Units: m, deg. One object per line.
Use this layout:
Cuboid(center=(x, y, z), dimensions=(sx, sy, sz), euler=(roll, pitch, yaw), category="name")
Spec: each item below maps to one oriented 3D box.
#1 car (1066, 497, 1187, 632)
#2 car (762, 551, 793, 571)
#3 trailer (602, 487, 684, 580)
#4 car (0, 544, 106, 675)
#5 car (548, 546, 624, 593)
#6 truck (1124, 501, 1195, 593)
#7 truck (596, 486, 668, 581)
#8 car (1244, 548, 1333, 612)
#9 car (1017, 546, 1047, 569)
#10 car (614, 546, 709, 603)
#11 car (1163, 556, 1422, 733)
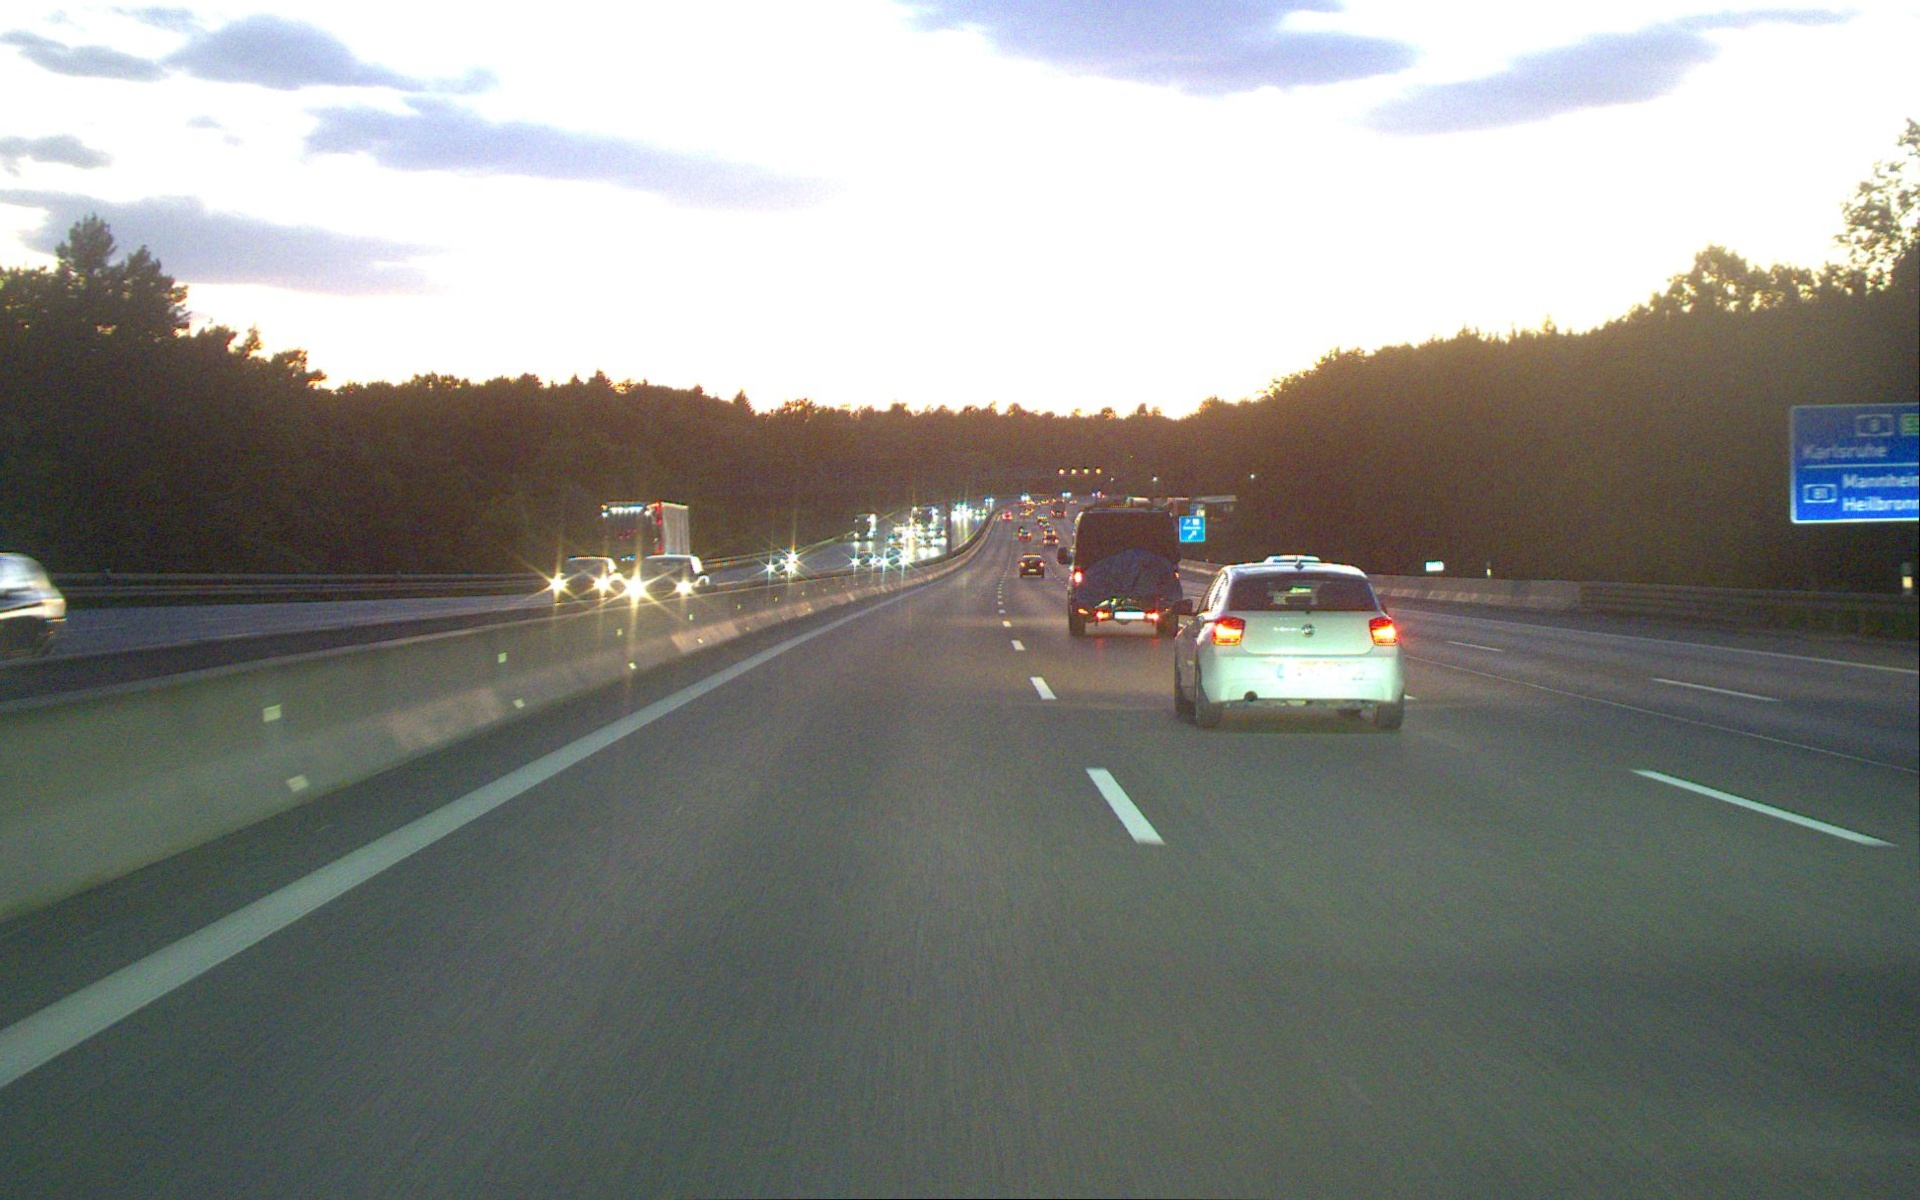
Cuboid(center=(3.140, -0.677, 64.433), dimensions=(2.166, 2.410, 5.563), euler=(0, 1, 3), category="car")
Cuboid(center=(-12.816, -2.739, 241.717), dimensions=(1.912, 1.420, 4.747), euler=(0, 1, 1), category="car")
Cuboid(center=(-14.664, -3.057, 159.988), dimensions=(2.649, 4.117, 14.327), euler=(0, 1, -1), category="trailer")
Cuboid(center=(-11.307, 0.087, 38.696), dimensions=(1.755, 1.424, 5.362), euler=(1, 1, 4), category="car")
Cuboid(center=(-11.451, -0.950, 105.544), dimensions=(1.776, 1.396, 4.939), euler=(1, 1, 0), category="car")
Cuboid(center=(13.035, -3.460, 226.029), dimensions=(4.149, 5.836, 14.296), euler=(0, 1, 1), category="truck")
Cuboid(center=(-14.576, -2.955, 153.129), dimensions=(2.649, 4.117, 6.525), euler=(0, 1, -1), category="truck")
Cuboid(center=(8.048, -0.497, 84.383), dimensions=(2.008, 1.533, 4.000), euler=(0, 1, 3), category="car")
Cuboid(center=(4.775, -2.823, 228.080), dimensions=(1.837, 1.565, 4.000), euler=(0, 1, 3), category="car")
Cuboid(center=(-7.518, -0.663, 87.044), dimensions=(1.993, 1.396, 4.688), euler=(1, 1, 0), category="car")
Cuboid(center=(2.867, 0.342, 30.346), dimensions=(1.859, 1.437, 3.721), euler=(0, 1, -1), category="car")
